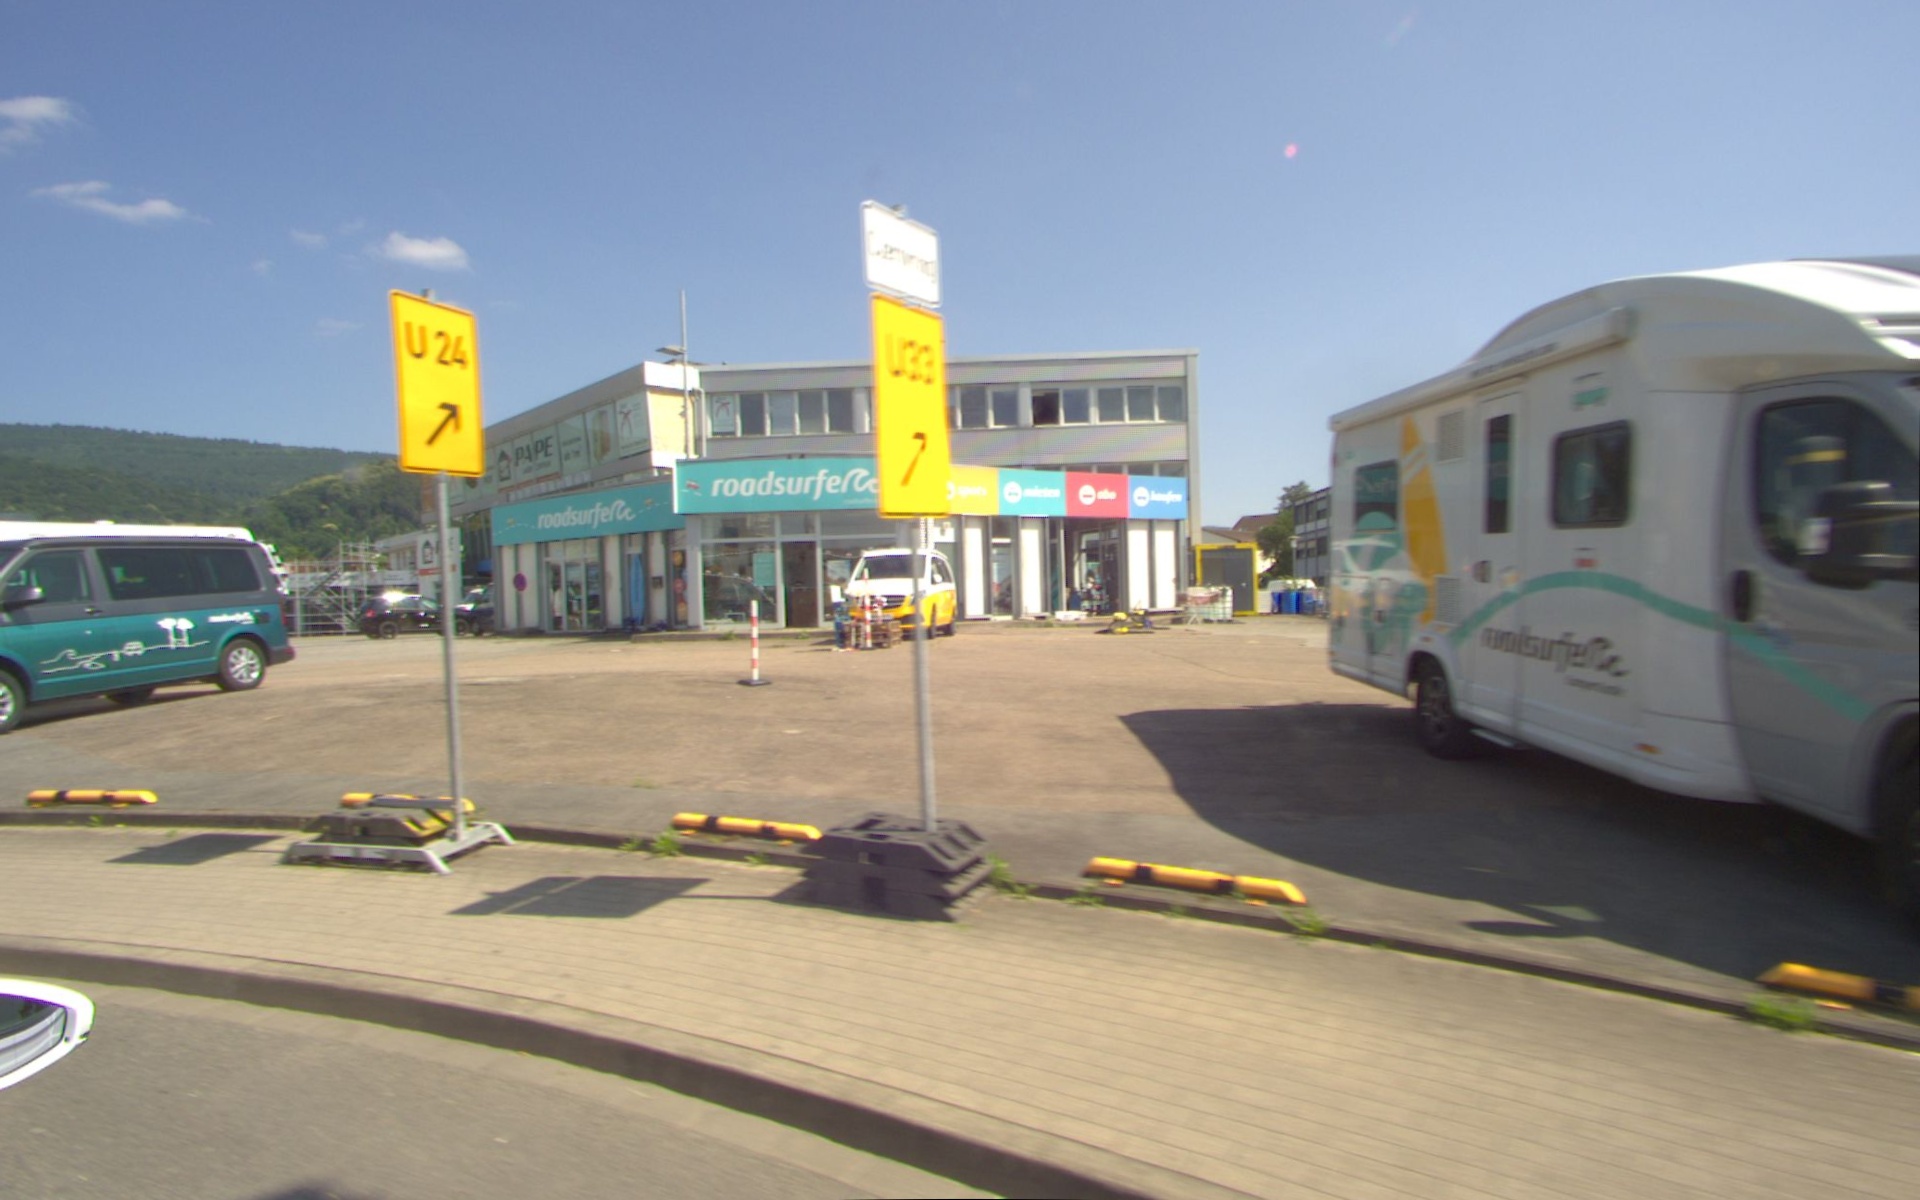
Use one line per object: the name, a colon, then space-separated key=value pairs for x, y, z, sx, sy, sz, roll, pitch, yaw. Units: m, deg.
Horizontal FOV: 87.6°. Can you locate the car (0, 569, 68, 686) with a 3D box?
car: x=-18.154 y=0.529 z=16.329 sx=1.895 sy=2.041 sz=5.142 roll=-1 pitch=1 yaw=15

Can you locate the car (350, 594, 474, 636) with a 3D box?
car: x=-21.687 y=0.562 z=39.728 sx=3.961 sy=1.539 sz=1.872 roll=-1 pitch=1 yaw=-45

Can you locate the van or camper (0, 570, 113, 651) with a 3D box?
van or camper: x=-32.066 y=0.367 z=32.779 sx=6.460 sy=2.595 sz=2.945 roll=-1 pitch=0 yaw=-44

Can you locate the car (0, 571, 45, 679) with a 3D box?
car: x=-20.336 y=0.543 z=18.206 sx=2.012 sy=2.122 sz=5.151 roll=-2 pitch=0 yaw=15

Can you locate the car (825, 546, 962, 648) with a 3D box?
car: x=-1.282 y=-0.081 z=21.838 sx=2.057 sy=1.902 sz=5.099 roll=-2 pitch=1 yaw=6

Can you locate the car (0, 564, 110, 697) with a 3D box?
car: x=-15.807 y=0.498 z=14.508 sx=1.987 sy=2.027 sz=5.155 roll=-1 pitch=1 yaw=11

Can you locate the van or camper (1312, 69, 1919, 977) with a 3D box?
van or camper: x=4.352 y=-0.331 z=5.724 sx=2.289 sy=2.986 sz=7.081 roll=-1 pitch=2 yaw=1

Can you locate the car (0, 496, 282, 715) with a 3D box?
car: x=-13.041 y=0.071 z=13.996 sx=2.263 sy=2.753 sz=6.153 roll=-1 pitch=1 yaw=9

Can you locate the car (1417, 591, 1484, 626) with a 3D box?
car: x=18.713 y=0.320 z=38.326 sx=1.201 sy=1.266 sz=2.937 roll=-1 pitch=0 yaw=2

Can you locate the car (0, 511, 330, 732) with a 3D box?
car: x=-10.146 y=0.211 z=11.496 sx=2.057 sy=2.142 sz=5.225 roll=-1 pitch=0 yaw=7

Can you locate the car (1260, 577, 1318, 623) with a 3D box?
car: x=19.554 y=0.030 z=59.751 sx=2.070 sy=2.560 sz=5.606 roll=-1 pitch=0 yaw=5
